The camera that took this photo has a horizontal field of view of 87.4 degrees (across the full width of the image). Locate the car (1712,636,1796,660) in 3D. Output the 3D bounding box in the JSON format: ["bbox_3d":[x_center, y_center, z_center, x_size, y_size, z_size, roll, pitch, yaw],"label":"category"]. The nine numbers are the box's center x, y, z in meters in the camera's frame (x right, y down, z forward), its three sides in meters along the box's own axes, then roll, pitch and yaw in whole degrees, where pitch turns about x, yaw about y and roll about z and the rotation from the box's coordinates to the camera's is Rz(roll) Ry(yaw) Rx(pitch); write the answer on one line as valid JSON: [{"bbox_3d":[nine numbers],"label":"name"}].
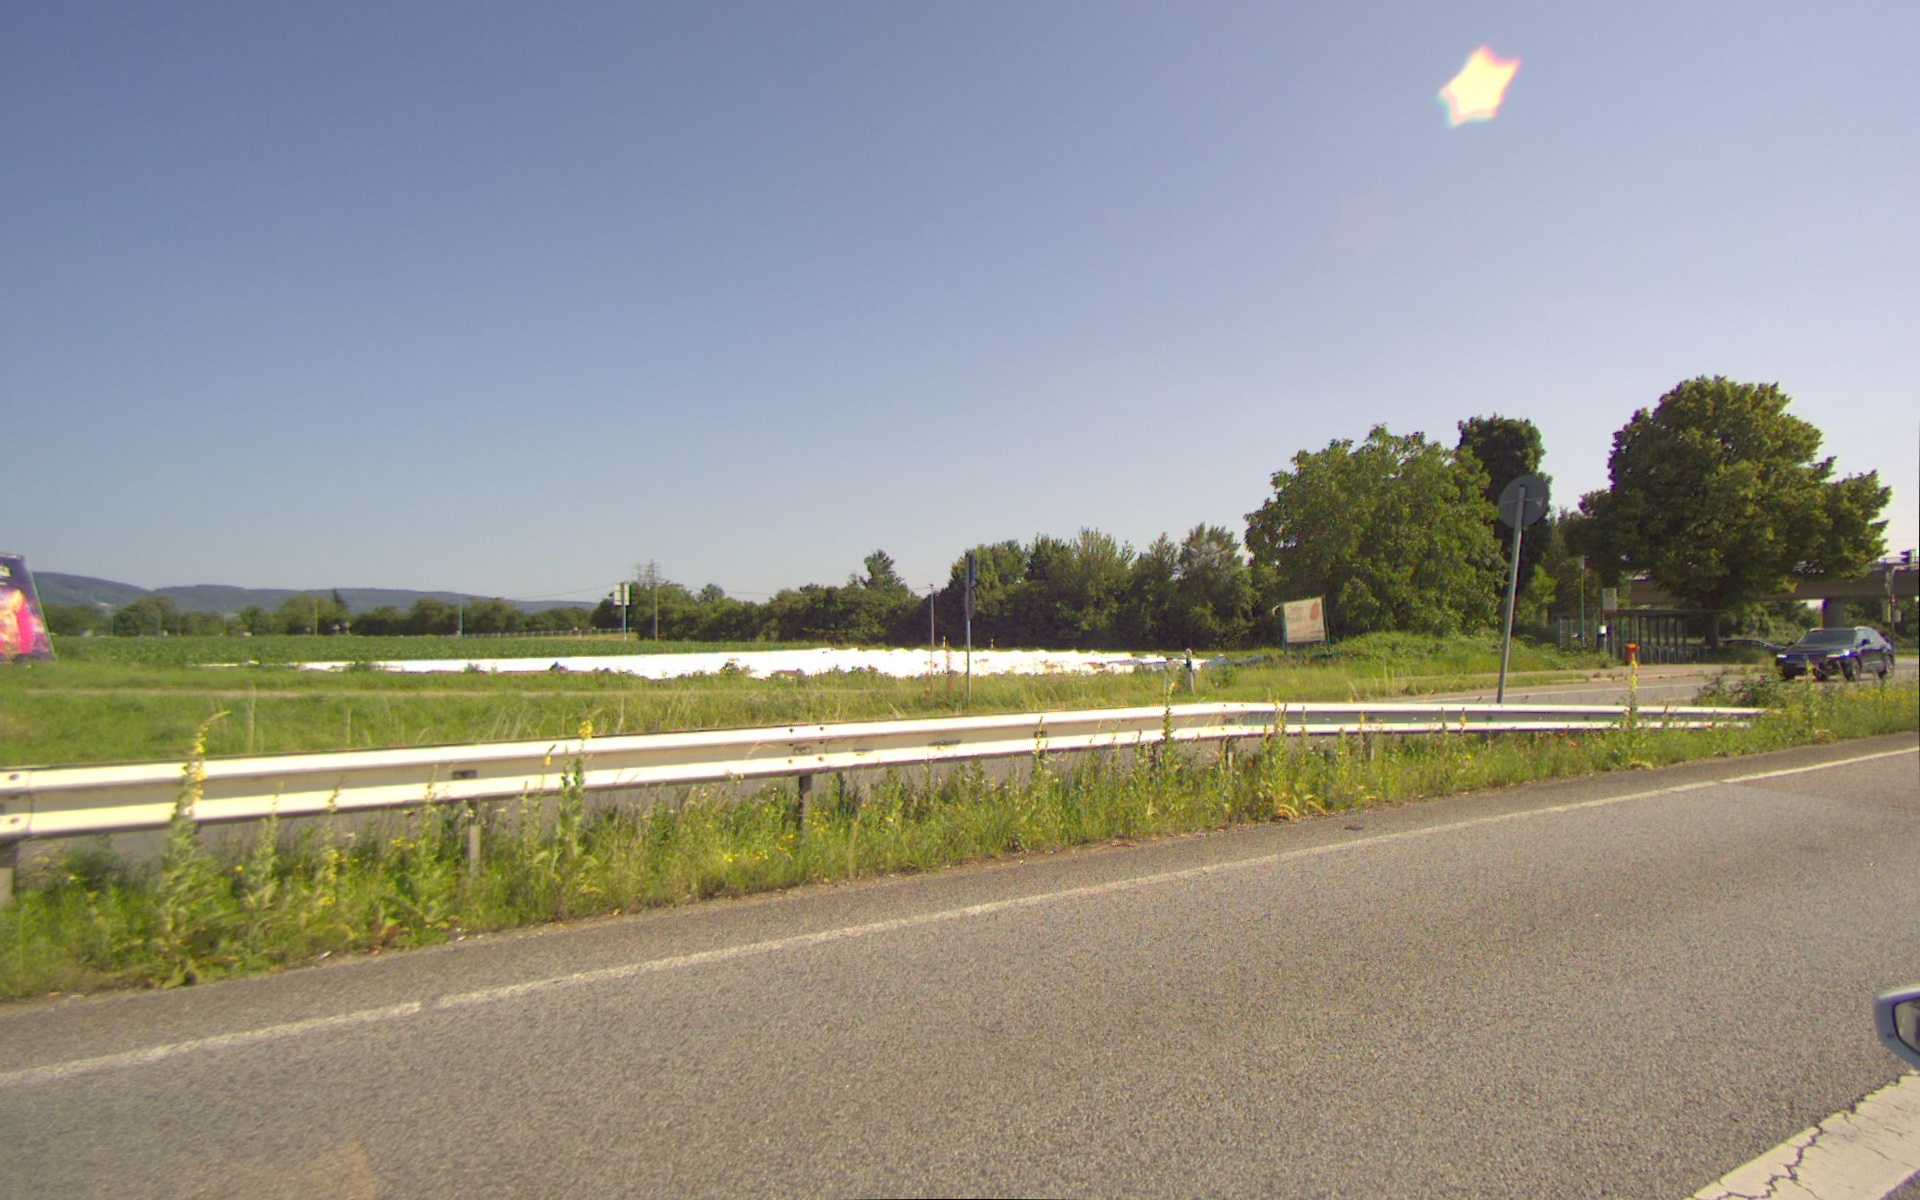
[{"bbox_3d":[50.028,3.036,63.322,4.065,1.443,1.862,-2,-3,40],"label":"car"}]

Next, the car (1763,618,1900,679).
[{"bbox_3d":[28.415,1.563,32.721,4.899,1.864,1.983,1,-4,-32],"label":"car"}]
